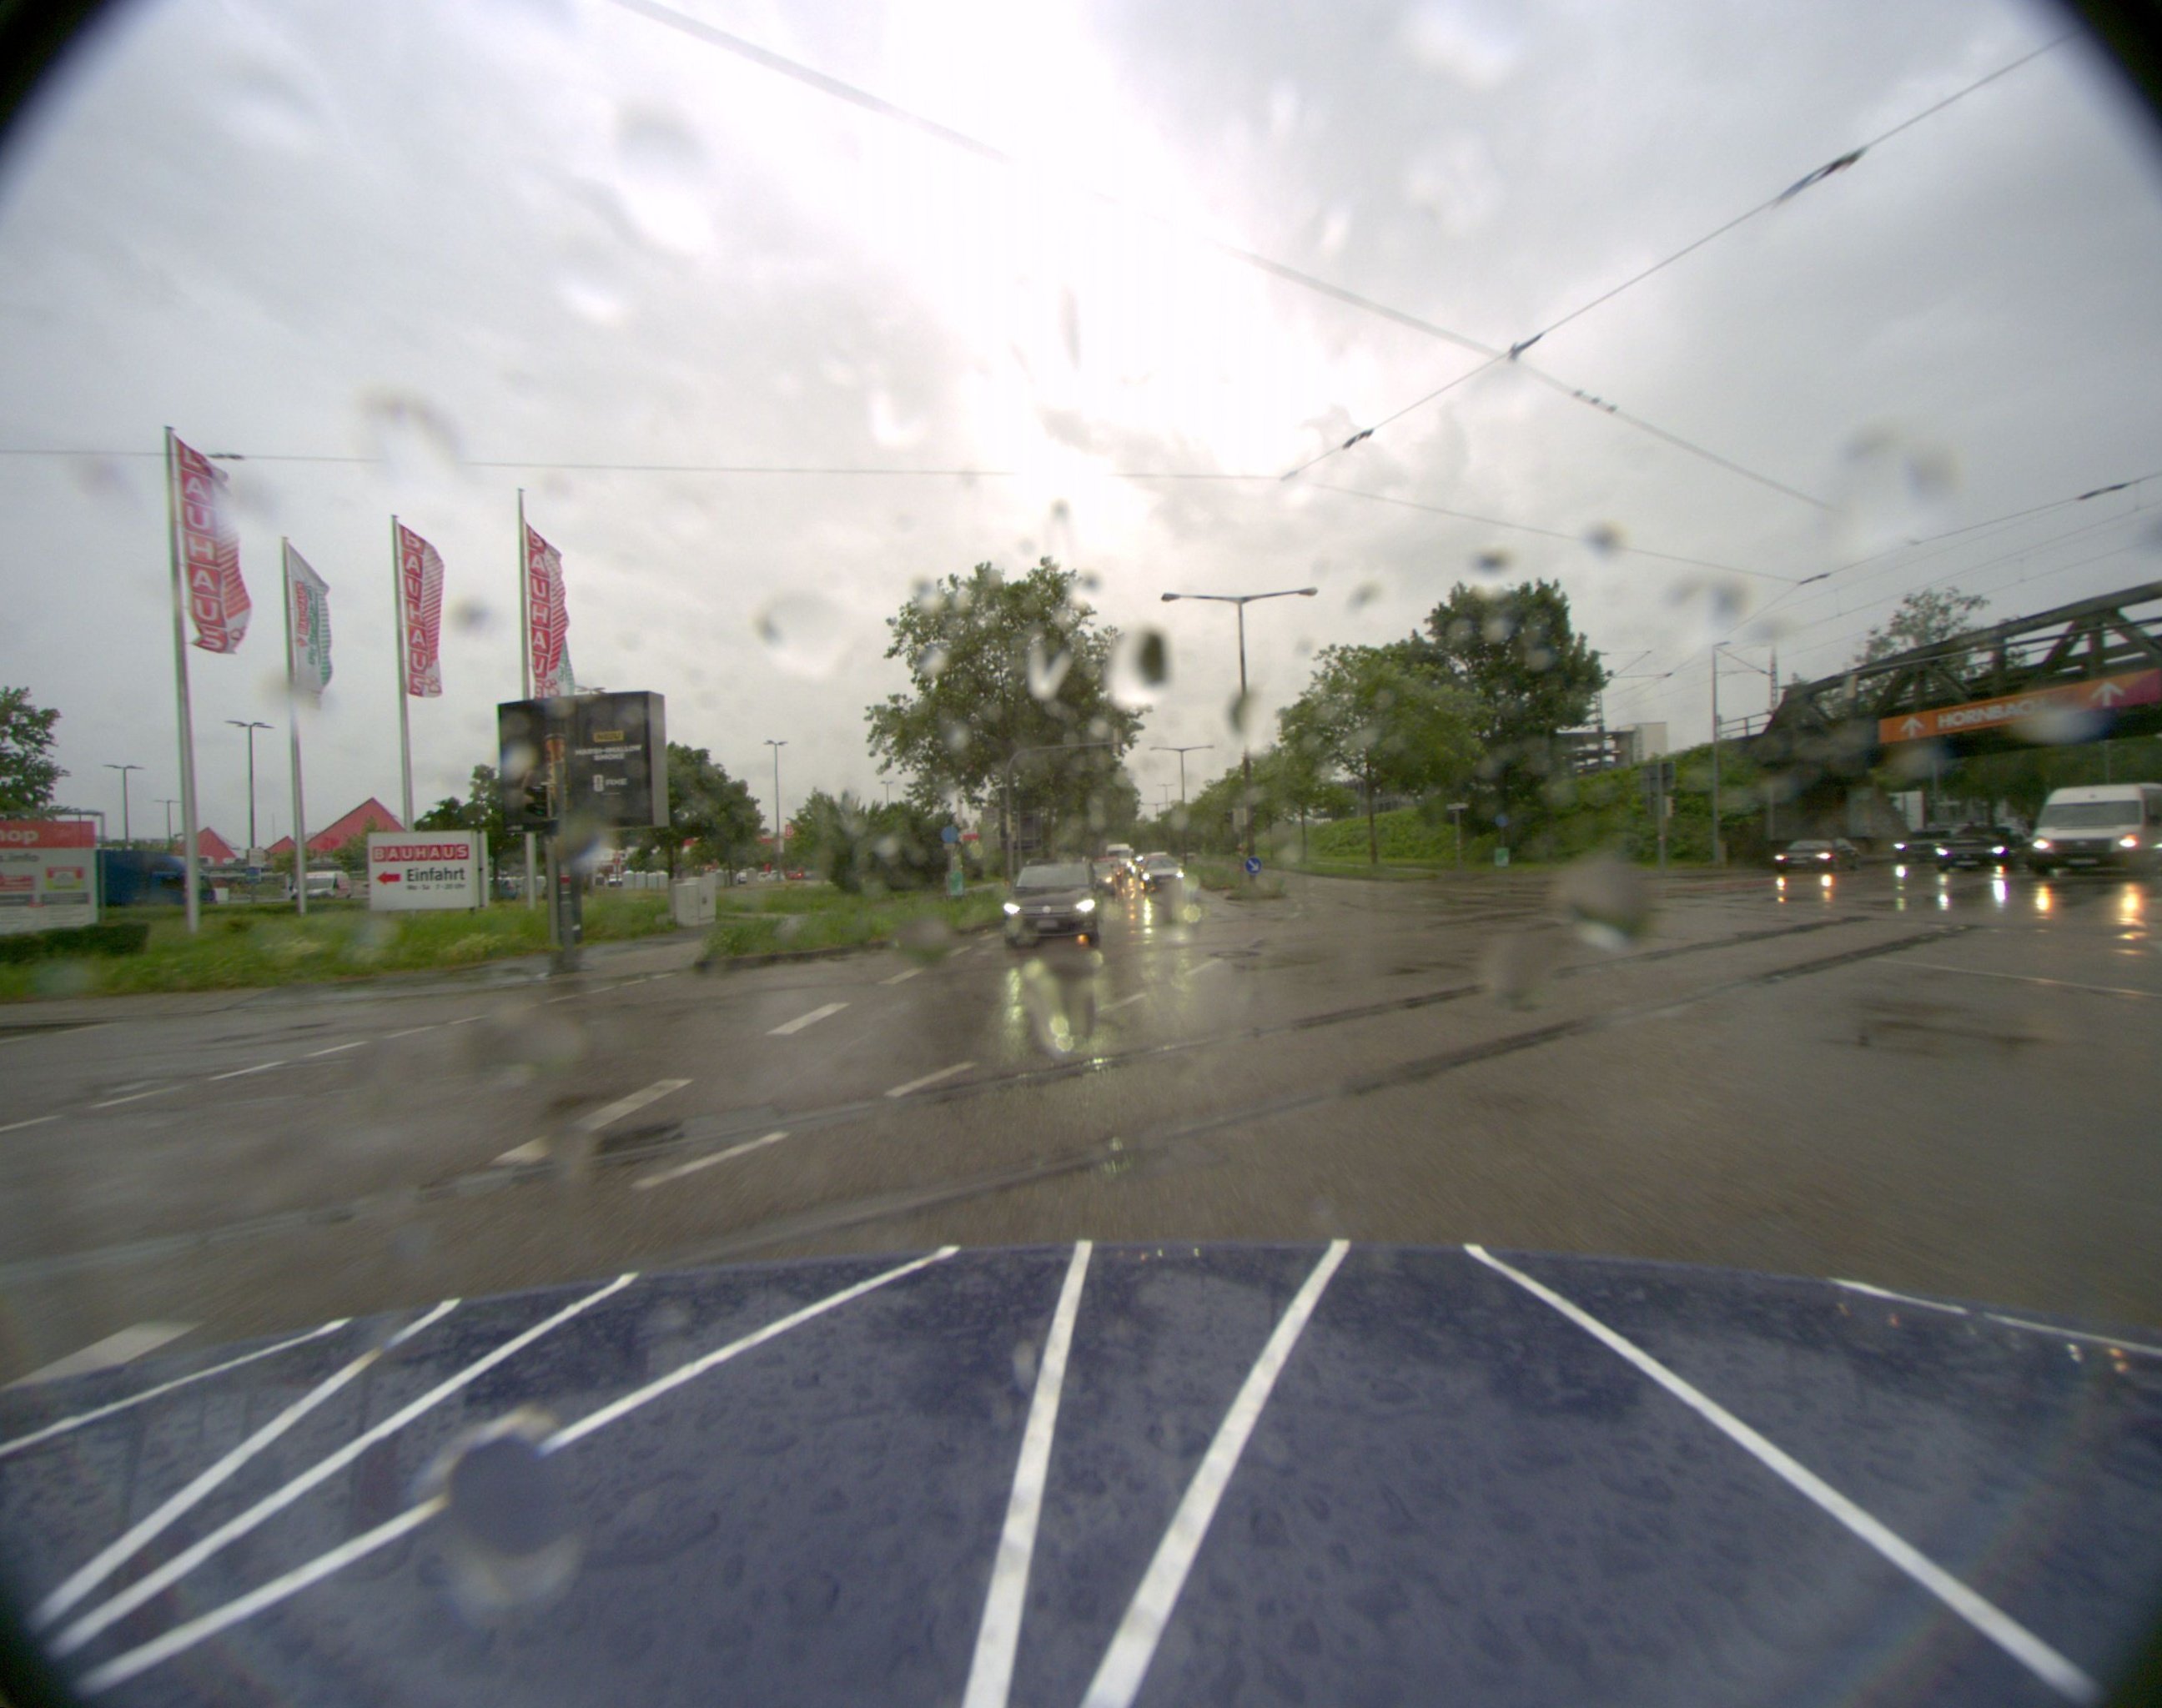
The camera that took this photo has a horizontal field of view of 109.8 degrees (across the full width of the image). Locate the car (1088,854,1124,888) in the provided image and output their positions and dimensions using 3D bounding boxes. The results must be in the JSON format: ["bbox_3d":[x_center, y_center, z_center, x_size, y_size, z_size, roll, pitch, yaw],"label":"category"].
[{"bbox_3d":[1.543,0.976,45.078,1.831,1.737,4.148,-4,0,4],"label":"car"}]

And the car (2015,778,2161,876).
[{"bbox_3d":[31.041,-0.831,23.023,6.988,2.596,2.382,-2,1,-30],"label":"car"}]

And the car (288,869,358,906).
[{"bbox_3d":[-53.373,2.272,53.628,2.335,2.347,5.503,-3,1,-33],"label":"car"}]

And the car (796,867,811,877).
[{"bbox_3d":[-44.639,2.863,122.354,1.932,1.543,4.265,-2,1,-24],"label":"car"}]

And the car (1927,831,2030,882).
[{"bbox_3d":[31.531,0.060,26.677,3.915,1.591,1.651,-2,1,-30],"label":"car"}]

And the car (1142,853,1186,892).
[{"bbox_3d":[3.838,0.824,35.764,1.773,1.565,4.822,-4,0,4],"label":"car"}]

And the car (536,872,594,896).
[{"bbox_3d":[-31.120,1.773,45.966,1.870,1.285,4.043,-2,0,-19],"label":"car"}]

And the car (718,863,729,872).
[{"bbox_3d":[-71.818,2.740,152.592,1.932,1.716,4.265,-3,1,-24],"label":"car"}]

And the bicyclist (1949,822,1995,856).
[{"bbox_3d":[39.617,-0.650,33.786,1.059,1.475,1.150,-2,1,-30],"label":"bicyclist"}]

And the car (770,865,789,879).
[{"bbox_3d":[-36.929,2.182,93.094,1.932,1.543,4.265,-2,1,-24],"label":"car"}]

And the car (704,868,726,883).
[{"bbox_3d":[-41.705,2.420,86.532,1.933,1.543,4.264,-3,1,-29],"label":"car"}]

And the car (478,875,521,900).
[{"bbox_3d":[-34.345,1.932,44.964,1.872,1.285,4.039,-2,0,-36],"label":"car"}]

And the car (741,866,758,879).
[{"bbox_3d":[-44.454,2.492,101.855,1.932,1.543,4.265,-2,1,-24],"label":"car"}]

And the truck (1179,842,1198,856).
[{"bbox_3d":[19.053,-0.937,134.997,2.480,2.351,6.868,-2,0,2],"label":"truck"}]

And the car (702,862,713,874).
[{"bbox_3d":[-79.842,2.993,162.541,1.932,2.464,4.265,-3,1,-24],"label":"car"}]

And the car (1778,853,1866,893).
[{"bbox_3d":[30.850,0.770,31.599,4.154,1.425,1.689,-2,0,-33],"label":"car"}]

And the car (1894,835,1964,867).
[{"bbox_3d":[42.595,-0.160,38.148,4.154,1.425,1.689,-2,0,-33],"label":"car"}]

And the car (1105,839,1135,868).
[{"bbox_3d":[3.145,-0.073,60.070,1.998,2.002,5.133,-4,1,5],"label":"car"}]

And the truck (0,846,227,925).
[{"bbox_3d":[-47.781,1.500,36.823,8.029,3.449,2.547,-2,-1,-31],"label":"truck"}]

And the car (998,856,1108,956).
[{"bbox_3d":[-0.418,0.936,15.797,1.770,1.596,4.627,-4,0,3],"label":"car"}]

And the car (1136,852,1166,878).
[{"bbox_3d":[4.553,0.689,49.597,1.723,1.456,4.093,-4,0,5],"label":"car"}]

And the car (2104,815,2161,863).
[{"bbox_3d":[38.295,-0.579,26.980,4.960,1.591,1.878,-2,1,-31],"label":"car"}]

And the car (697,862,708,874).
[{"bbox_3d":[-83.481,3.106,167.646,1.932,2.464,4.265,-3,1,-24],"label":"car"}]

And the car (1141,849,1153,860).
[{"bbox_3d":[11.251,0.097,129.753,1.724,1.674,3.728,-4,1,4],"label":"car"}]

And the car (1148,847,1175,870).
[{"bbox_3d":[6.287,0.338,59.834,1.831,1.602,4.148,-4,0,4],"label":"car"}]

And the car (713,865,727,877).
[{"bbox_3d":[-62.024,2.890,130.538,1.932,1.886,4.740,-3,1,-24],"label":"car"}]
